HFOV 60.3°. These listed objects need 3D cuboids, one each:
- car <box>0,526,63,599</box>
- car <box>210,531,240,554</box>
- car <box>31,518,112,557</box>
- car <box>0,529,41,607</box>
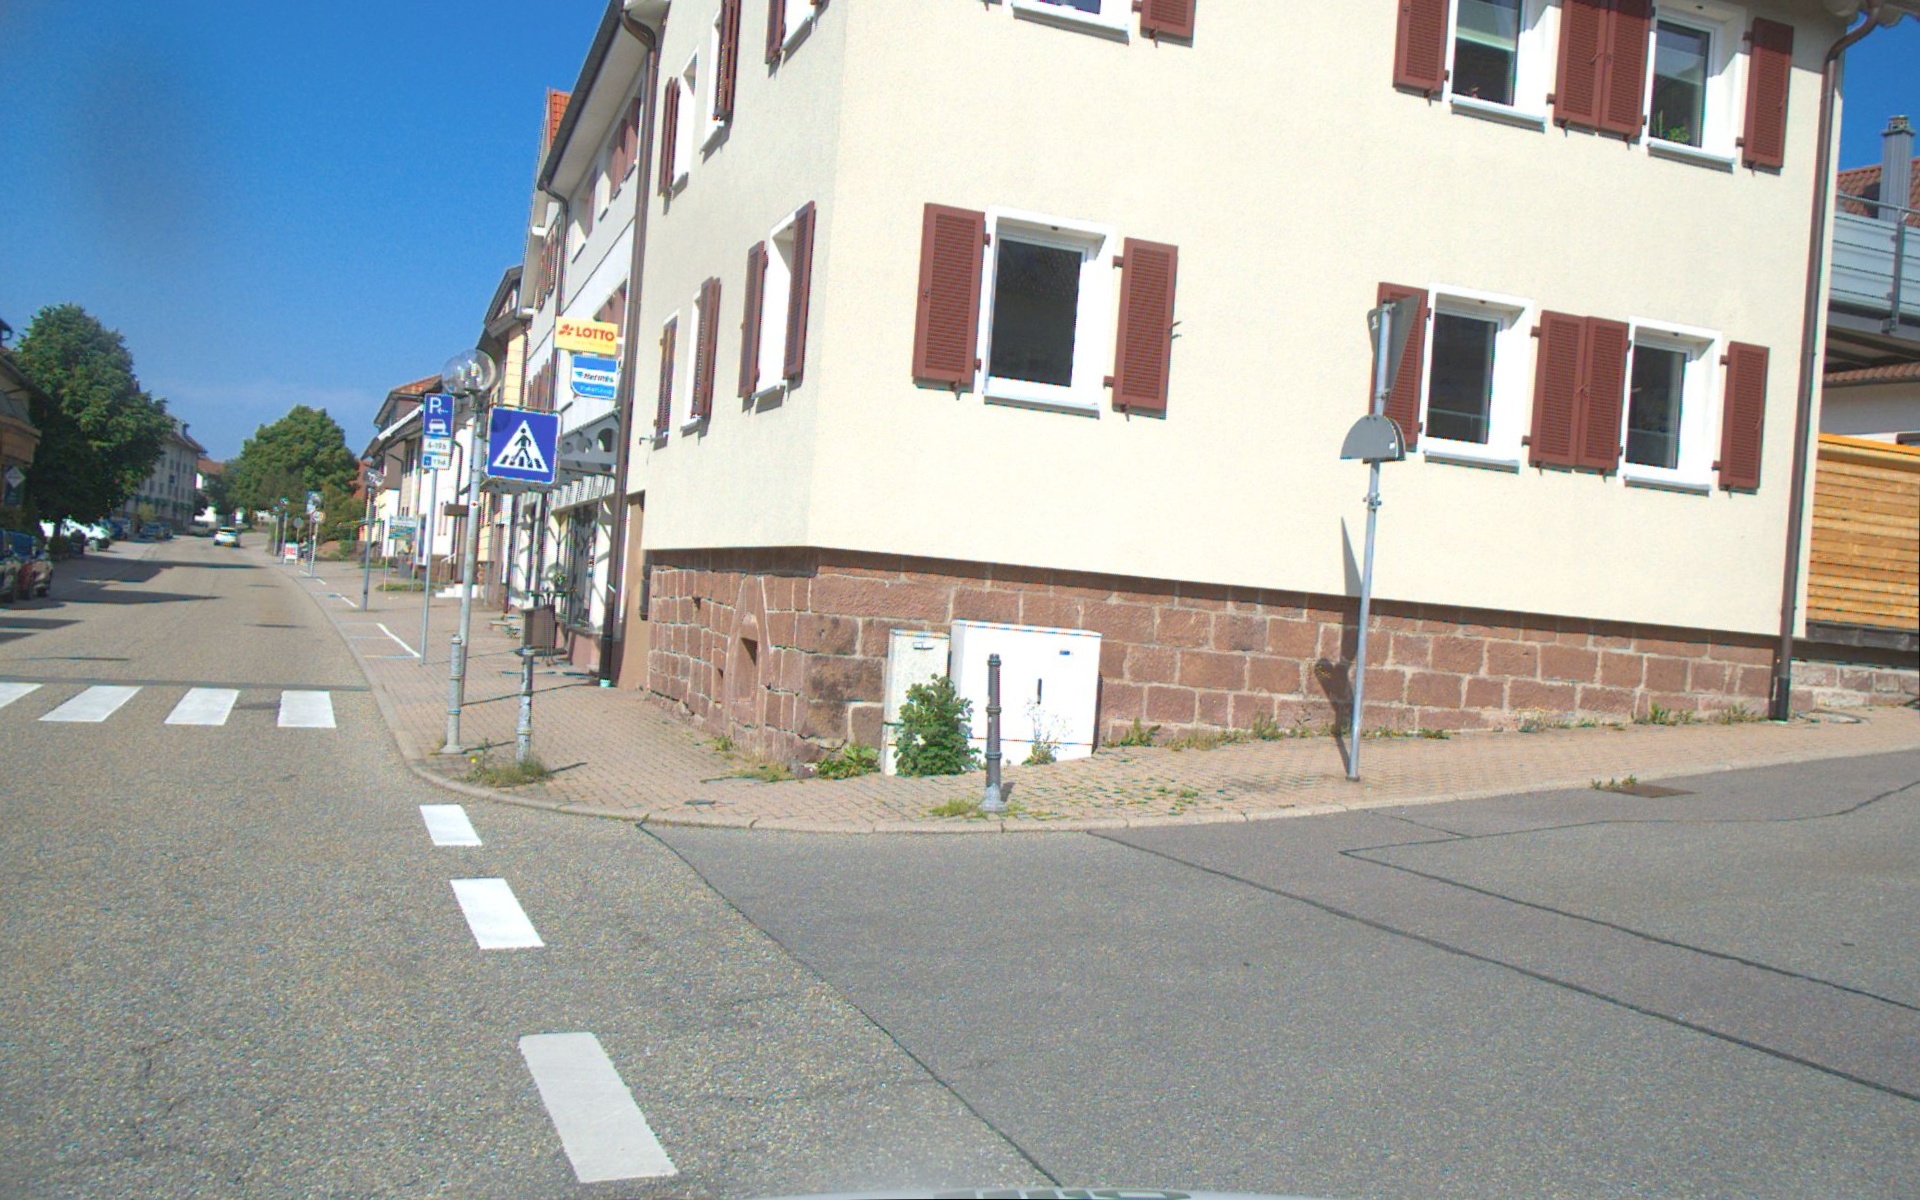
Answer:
[{"bbox_3d":[-23.121,-0.928,40.396,1.646,1.703,3.291,1,1,-21],"label":"car"},{"bbox_3d":[-68.306,-5.307,153.711,2.462,2.049,4.274,1,1,-23],"label":"car"},{"bbox_3d":[-50.518,-3.549,94.067,3.949,2.048,1.978,1,2,-33],"label":"car"},{"bbox_3d":[-21.082,-0.775,35.542,1.649,1.559,3.514,8,-1,-20],"label":"car"}]
